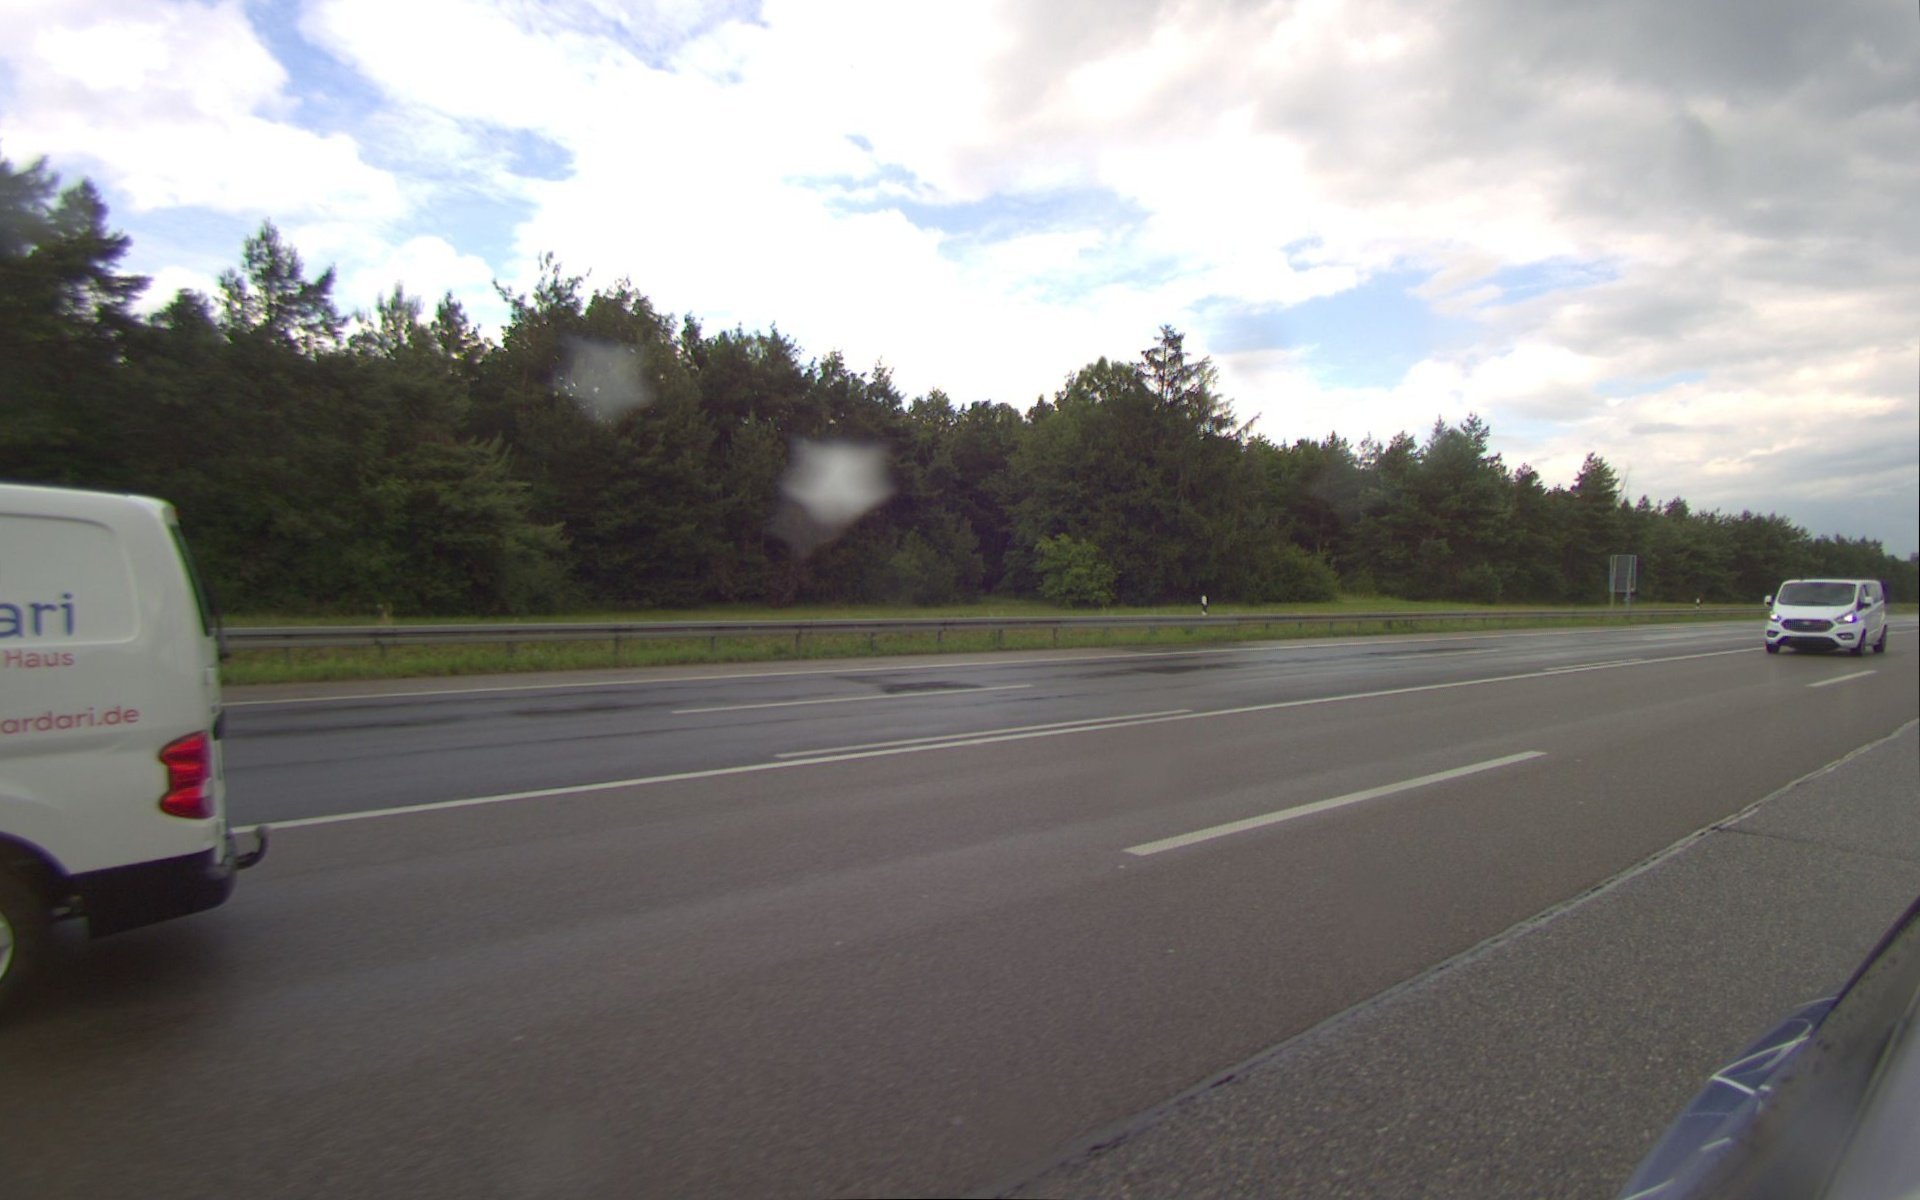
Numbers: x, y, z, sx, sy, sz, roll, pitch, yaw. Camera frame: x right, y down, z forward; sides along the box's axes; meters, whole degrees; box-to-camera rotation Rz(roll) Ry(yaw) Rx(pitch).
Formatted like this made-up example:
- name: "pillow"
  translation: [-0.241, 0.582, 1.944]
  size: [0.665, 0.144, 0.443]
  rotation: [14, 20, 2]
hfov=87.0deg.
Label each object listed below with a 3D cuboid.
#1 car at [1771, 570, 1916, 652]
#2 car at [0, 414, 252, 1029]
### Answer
- name: "car"
  translation: [24.034, 0.266, 27.468]
  size: [5.382, 2.039, 1.999]
  rotation: [0, 0, -38]
- name: "car"
  translation: [-4.968, 0.371, 2.797]
  size: [4.795, 1.925, 1.968]
  rotation: [0, 1, -40]
